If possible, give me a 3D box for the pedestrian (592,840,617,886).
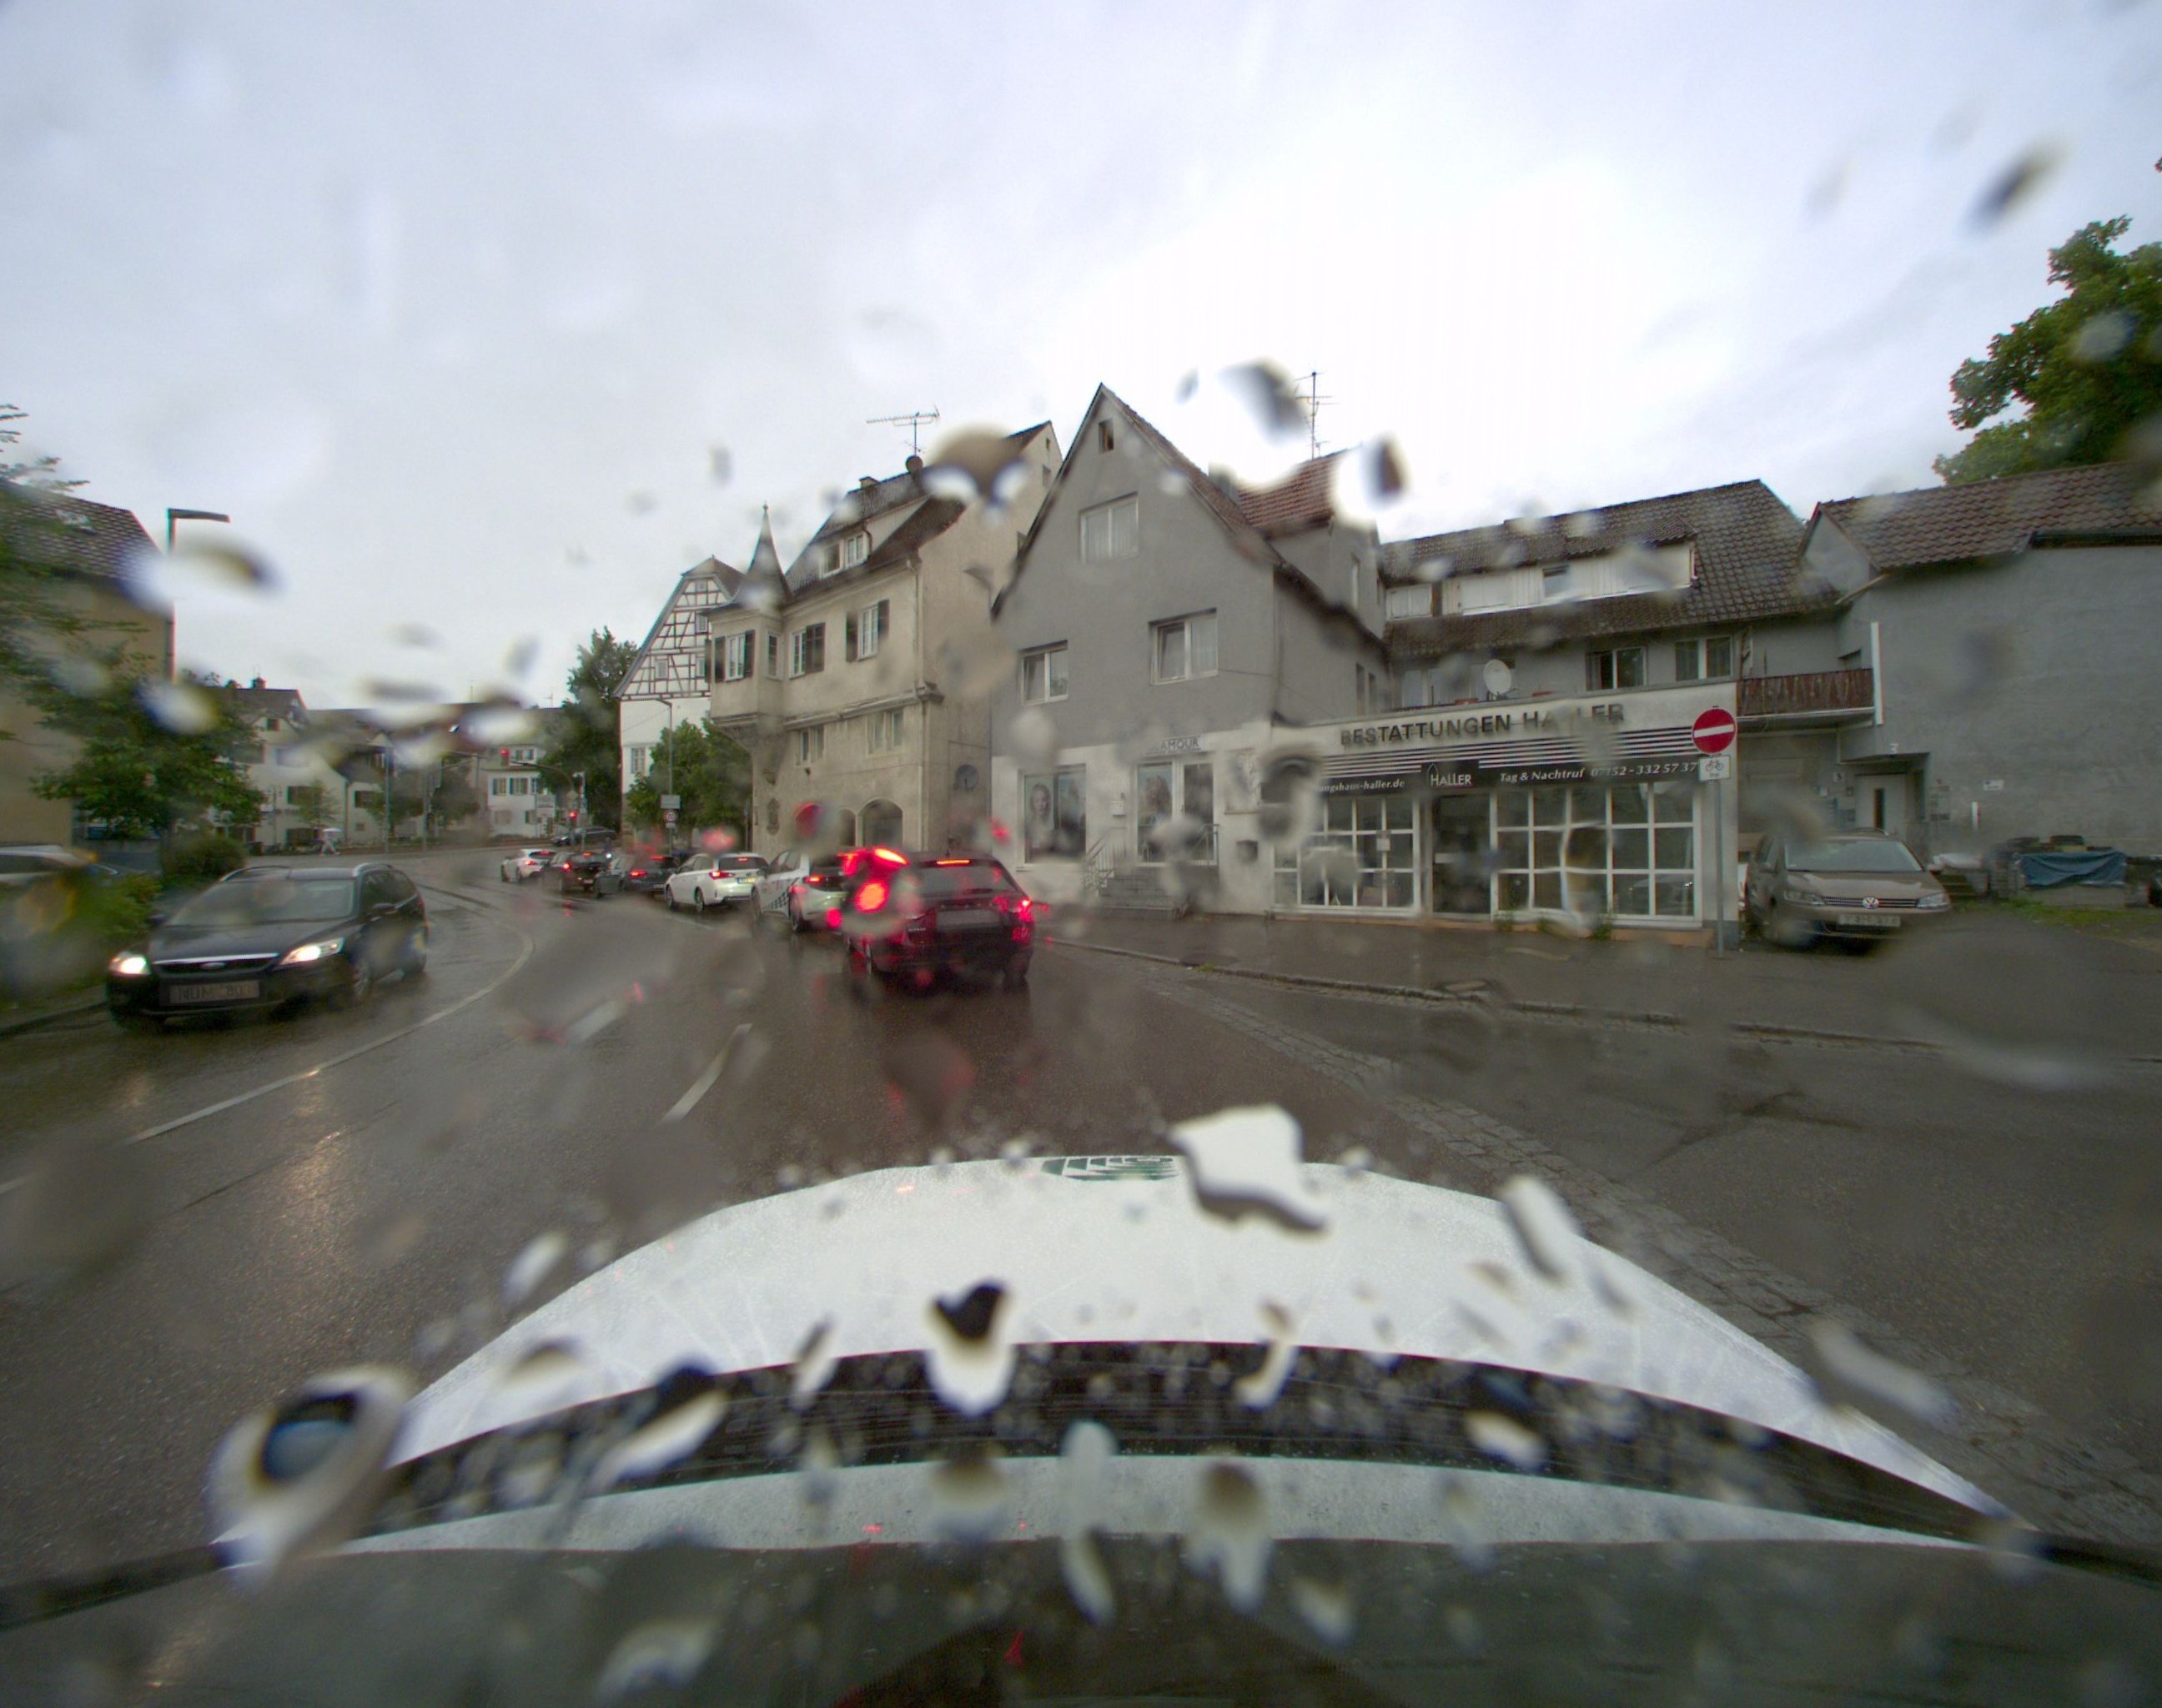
[{"bbox_3d":[-24.196,0.455,41.331,0.872,2.326,1.216,-1,0,-40],"label":"pedestrian"}]

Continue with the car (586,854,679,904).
[{"bbox_3d":[-14.157,0.735,25.636,3.721,1.361,1.533,1,2,44],"label":"car"}]

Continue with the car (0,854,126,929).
[{"bbox_3d":[-22.395,0.770,16.509,1.692,1.455,3.558,0,1,24],"label":"car"}]

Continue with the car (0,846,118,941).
[{"bbox_3d":[-20.130,0.718,14.444,1.692,1.685,3.558,0,1,24],"label":"car"}]

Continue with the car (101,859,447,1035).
[{"bbox_3d":[-9.020,0.853,9.590,1.742,1.510,4.233,-2,1,-29],"label":"car"}]

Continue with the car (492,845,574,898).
[{"bbox_3d":[-23.507,0.692,34.890,3.911,2.090,1.992,1,2,42],"label":"car"}]

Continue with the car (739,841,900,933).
[{"bbox_3d":[-5.312,0.570,16.173,1.803,1.517,4.194,-2,1,-36],"label":"car"}]

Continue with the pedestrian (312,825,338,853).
[{"bbox_3d":[-48.056,-0.929,51.763,1.156,1.742,0.993,-1,0,-41],"label":"pedestrian"}]

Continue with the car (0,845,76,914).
[{"bbox_3d":[-26.200,0.614,18.714,1.692,1.576,3.558,0,1,24],"label":"car"}]

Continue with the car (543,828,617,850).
[{"bbox_3d":[-37.541,-1.101,61.122,1.632,1.389,4.555,7,3,23],"label":"car"}]

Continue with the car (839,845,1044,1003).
[{"bbox_3d":[-1.945,0.652,10.152,1.738,1.450,4.212,-2,2,-21],"label":"car"}]

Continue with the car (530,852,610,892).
[{"bbox_3d":[-18.933,0.628,30.122,3.579,1.312,1.678,1,2,44],"label":"car"}]

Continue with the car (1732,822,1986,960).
[{"bbox_3d":[11.722,0.390,12.670,1.905,1.727,4.698,-1,2,32],"label":"car"}]

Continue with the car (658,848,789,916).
[{"bbox_3d":[-9.122,0.618,20.616,1.801,1.465,4.114,-3,2,-42],"label":"car"}]
